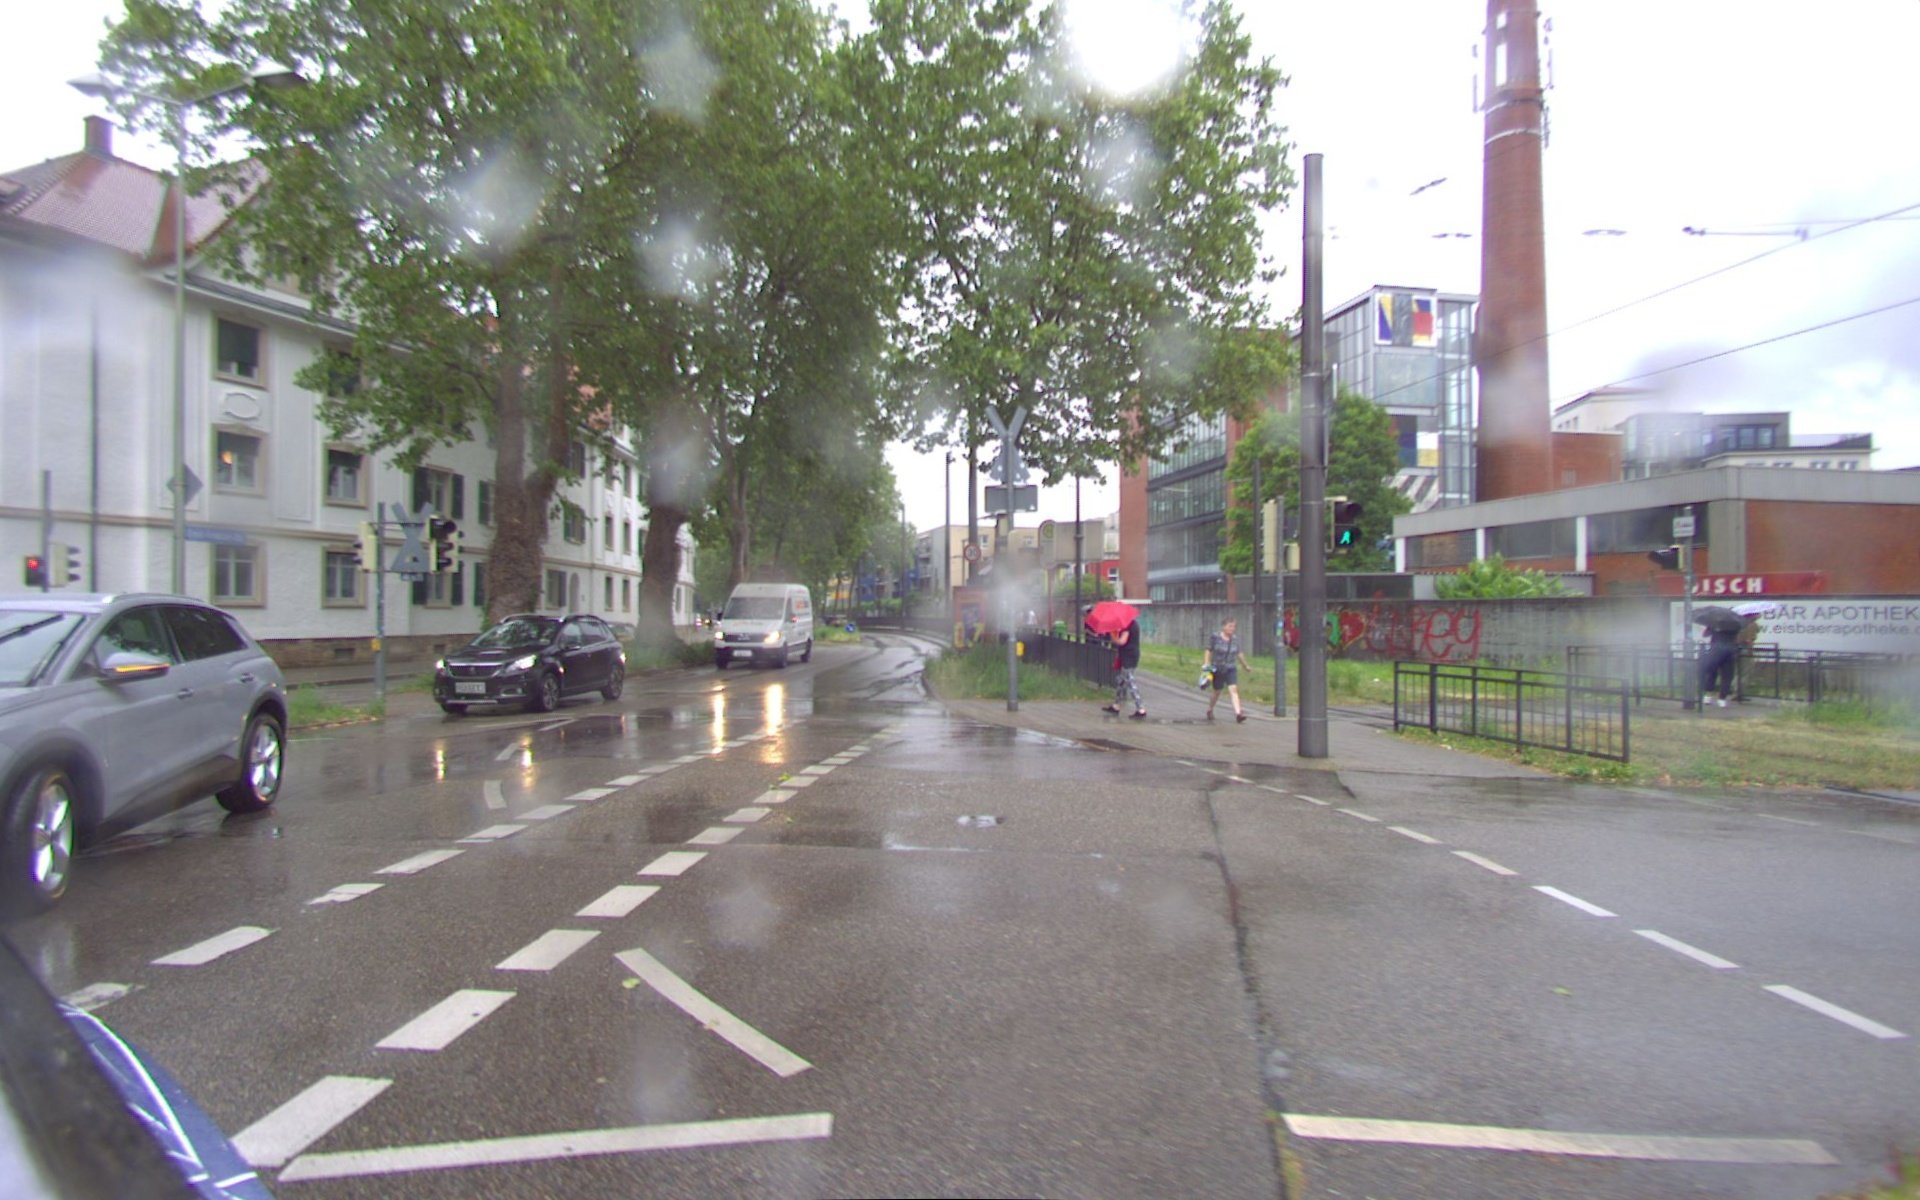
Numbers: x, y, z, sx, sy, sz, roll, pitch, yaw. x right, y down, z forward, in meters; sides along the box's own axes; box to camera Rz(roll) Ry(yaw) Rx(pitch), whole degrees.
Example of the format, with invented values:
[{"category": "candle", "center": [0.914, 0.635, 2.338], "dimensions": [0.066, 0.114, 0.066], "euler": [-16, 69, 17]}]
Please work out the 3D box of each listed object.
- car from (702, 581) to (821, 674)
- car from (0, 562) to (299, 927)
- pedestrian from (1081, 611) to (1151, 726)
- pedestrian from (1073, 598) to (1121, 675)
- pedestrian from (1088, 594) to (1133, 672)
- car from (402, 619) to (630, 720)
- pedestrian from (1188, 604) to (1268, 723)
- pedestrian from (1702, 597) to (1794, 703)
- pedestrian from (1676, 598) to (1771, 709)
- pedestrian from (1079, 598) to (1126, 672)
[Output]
[{"category": "car", "center": [-6.002, 0.801, 31.526], "dimensions": [2.253, 2.581, 6.508], "euler": [0, -1, 2]}, {"category": "car", "center": [-5.599, 0.700, 5.868], "dimensions": [1.779, 1.633, 4.149], "euler": [0, -2, -16]}, {"category": "pedestrian", "center": [2.376, 1.030, 15.527], "dimensions": [0.836, 1.701, 0.862], "euler": [0, -2, -7]}, {"category": "pedestrian", "center": [3.086, 0.815, 22.924], "dimensions": [0.846, 1.701, 0.850], "euler": [0, -2, -9]}, {"category": "pedestrian", "center": [3.621, 0.788, 24.396], "dimensions": [0.846, 1.846, 0.850], "euler": [0, -2, -9]}, {"category": "car", "center": [-7.076, 1.064, 16.643], "dimensions": [1.830, 1.455, 3.995], "euler": [0, -2, 3]}, {"category": "pedestrian", "center": [3.961, 0.922, 15.013], "dimensions": [0.846, 1.701, 0.850], "euler": [0, -2, -9]}, {"category": "pedestrian", "center": [14.438, 0.905, 18.571], "dimensions": [0.836, 1.876, 0.957], "euler": [0, -2, -7]}, {"category": "pedestrian", "center": [13.286, 0.913, 17.644], "dimensions": [0.836, 1.876, 0.957], "euler": [0, -2, -7]}, {"category": "pedestrian", "center": [3.334, 0.825, 23.748], "dimensions": [0.846, 1.701, 0.850], "euler": [0, -2, -9]}]
